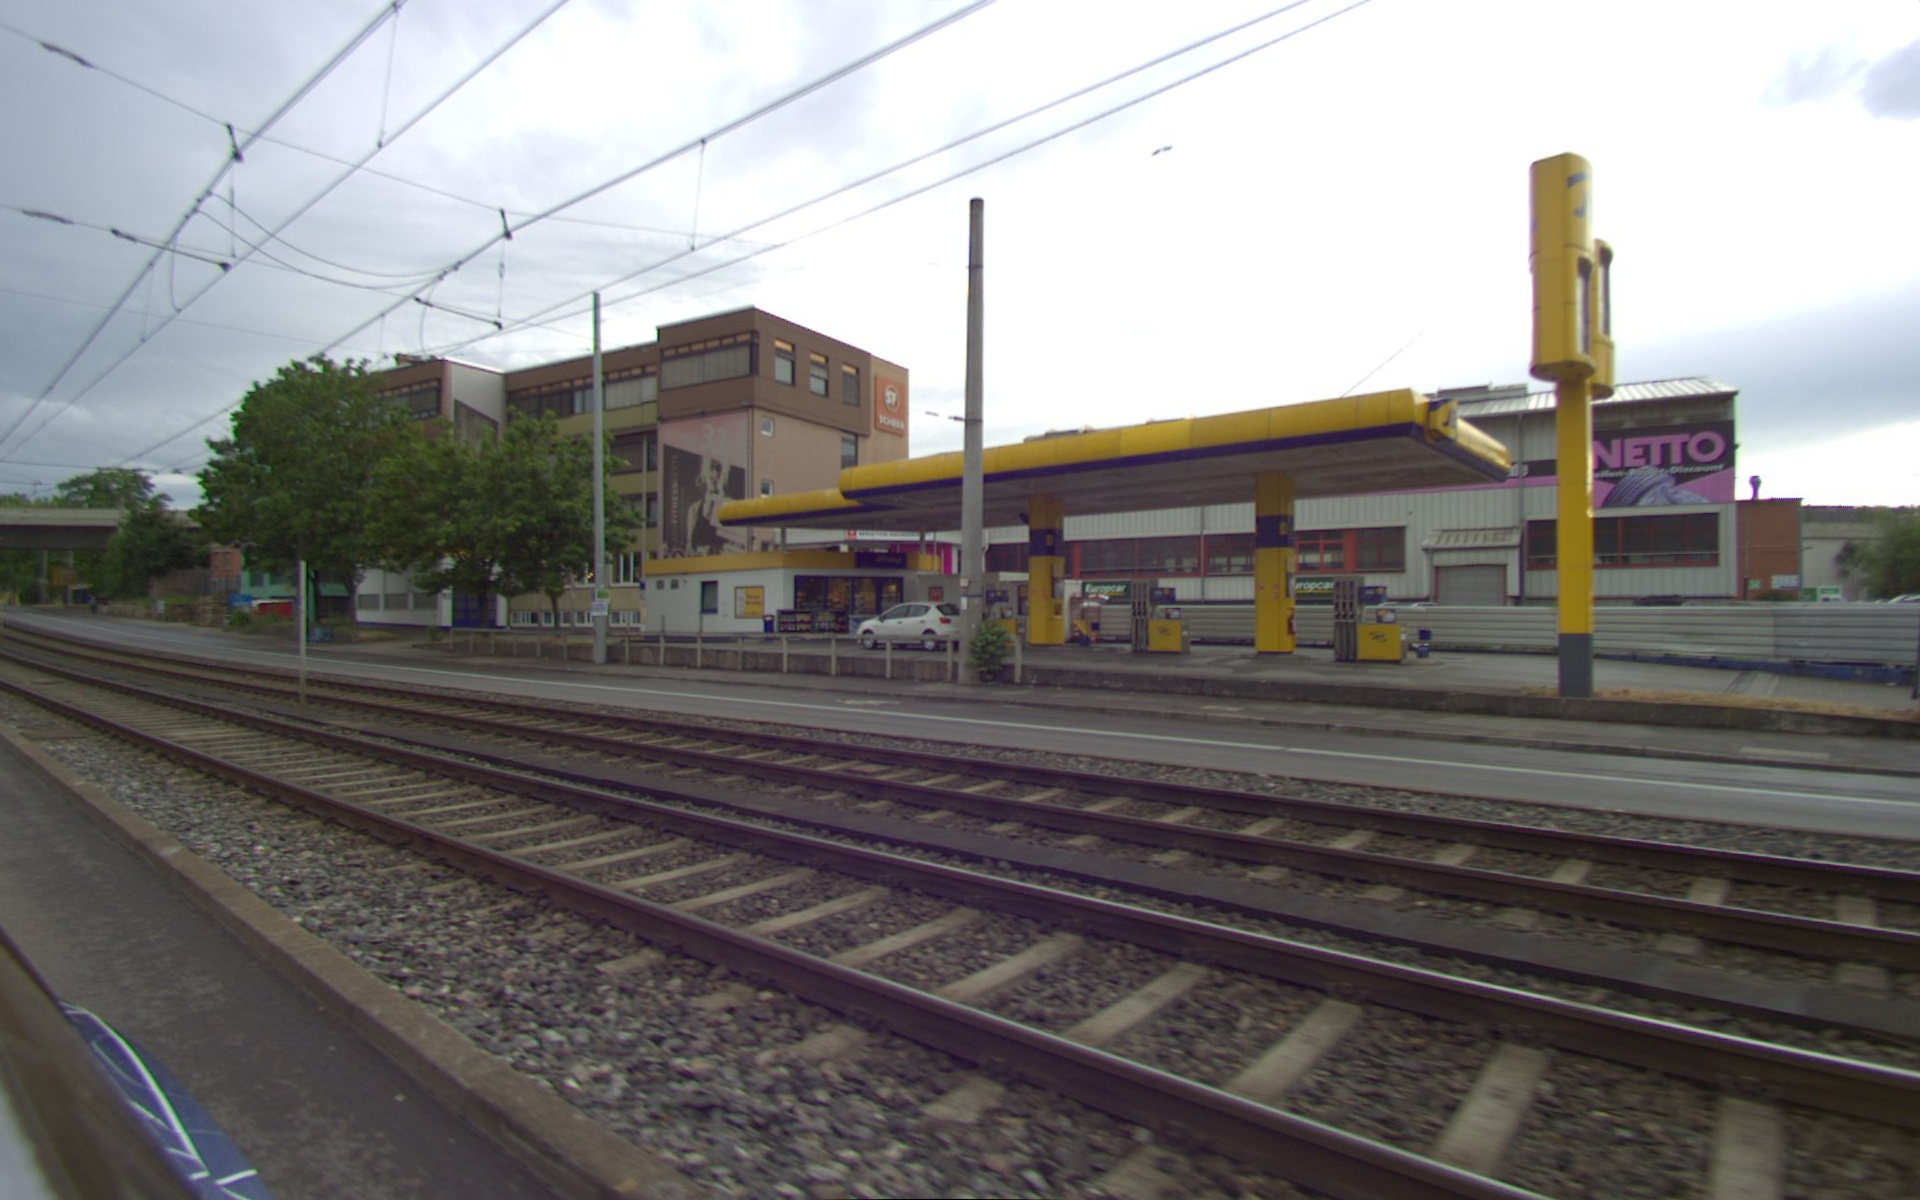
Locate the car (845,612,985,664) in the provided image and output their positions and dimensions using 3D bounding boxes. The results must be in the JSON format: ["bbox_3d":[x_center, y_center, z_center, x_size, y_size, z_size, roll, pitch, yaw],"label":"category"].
[{"bbox_3d":[-1.388,1.086,30.528,4.070,1.426,1.753,0,0,38],"label":"car"}]

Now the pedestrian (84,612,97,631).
[{"bbox_3d":[-79.538,1.974,92.536,1.021,1.657,0.737,-1,-2,42],"label":"pedestrian"}]
